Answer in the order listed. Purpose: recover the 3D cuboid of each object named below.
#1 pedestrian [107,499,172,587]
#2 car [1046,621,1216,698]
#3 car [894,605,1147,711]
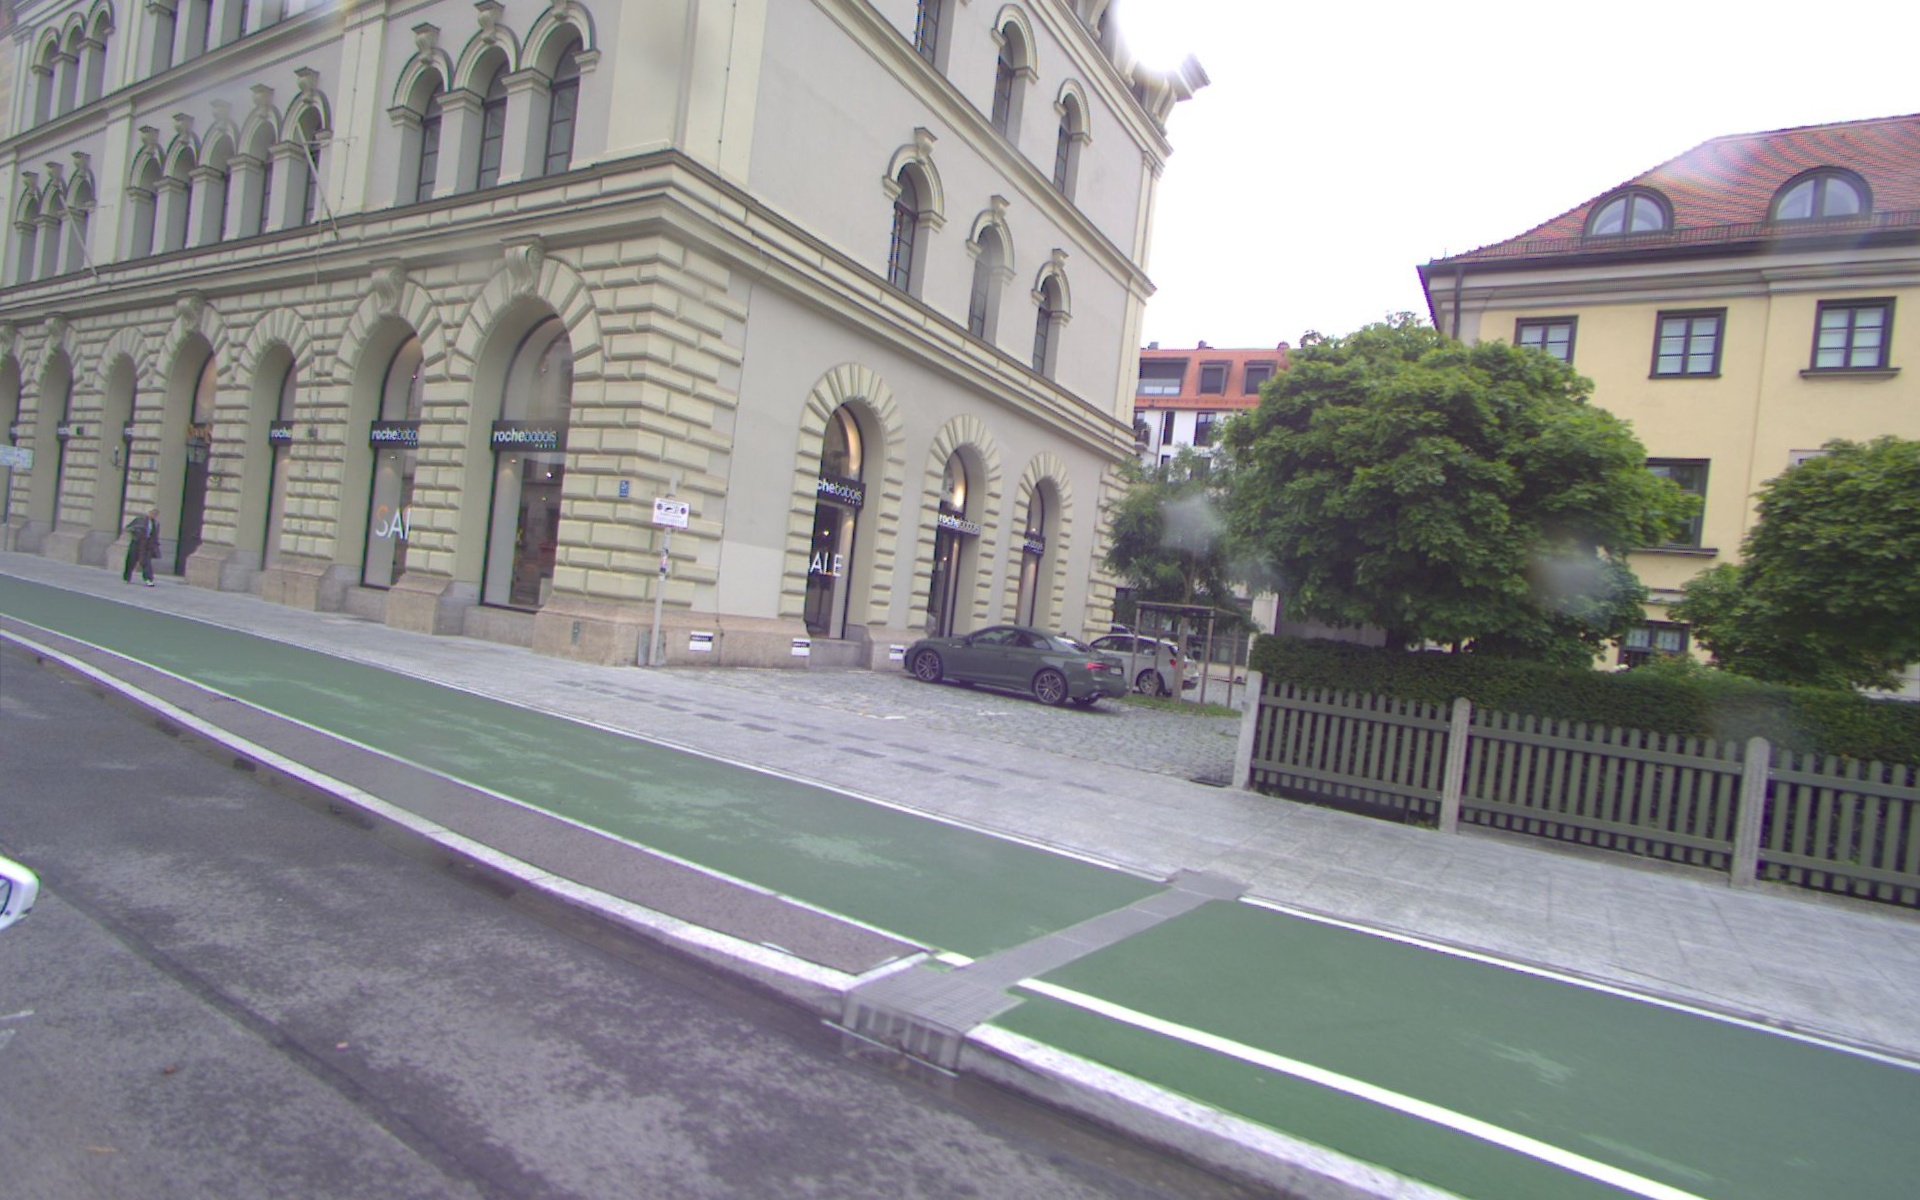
[{"bbox_3d":[-17.383,-1.213,21.313,1.067,1.726,0.633,7,1,31],"label":"pedestrian"},{"bbox_3d":[4.338,1.500,25.661,3.812,1.443,1.693,7,0,31],"label":"car"},{"bbox_3d":[1.142,1.115,19.911,4.553,1.443,1.860,7,-1,31],"label":"car"}]
